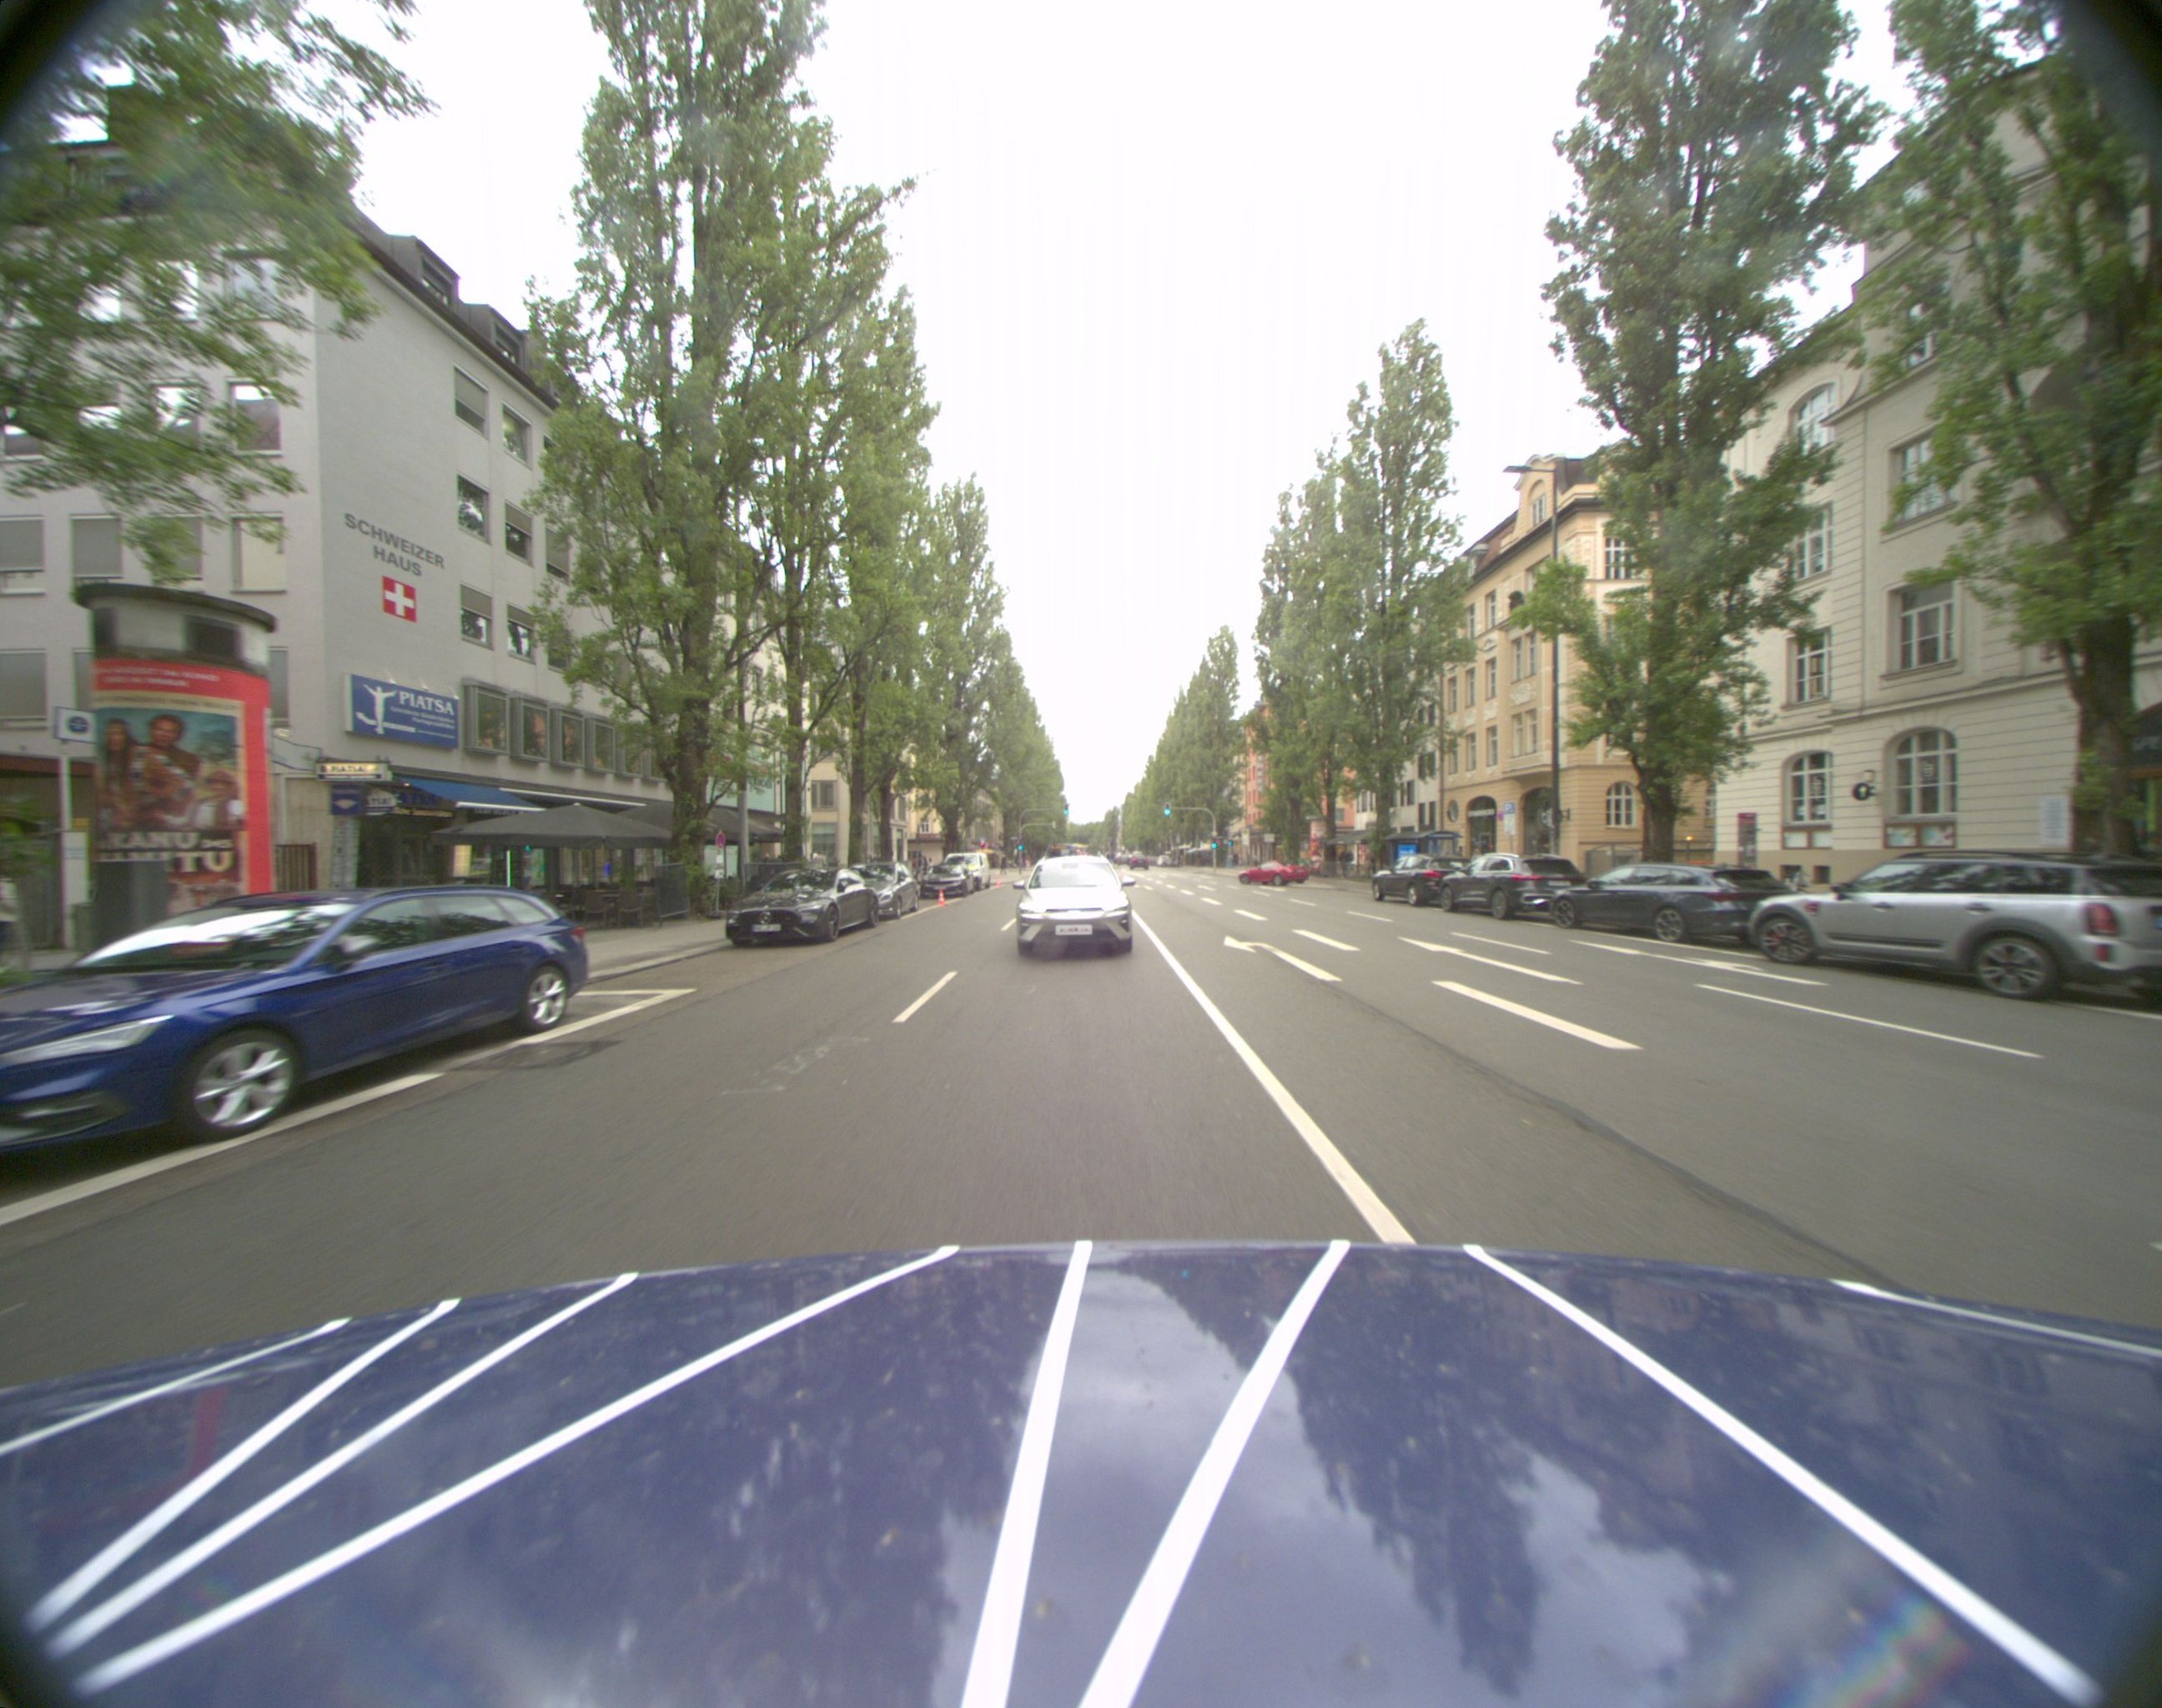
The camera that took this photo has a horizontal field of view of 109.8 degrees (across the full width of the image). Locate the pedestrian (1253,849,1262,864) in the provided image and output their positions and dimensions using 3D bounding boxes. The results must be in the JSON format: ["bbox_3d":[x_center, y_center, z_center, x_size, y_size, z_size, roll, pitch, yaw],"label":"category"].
[{"bbox_3d":[18.529,0.265,79.851,0.780,1.609,0.934,-1,1,0],"label":"pedestrian"}]

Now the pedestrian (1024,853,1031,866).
[{"bbox_3d":[-6.715,0.706,95.575,0.767,1.600,0.864,-1,1,-3],"label":"pedestrian"}]

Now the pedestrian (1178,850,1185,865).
[{"bbox_3d":[12.546,0.453,94.772,0.736,1.785,0.994,-2,1,19],"label":"pedestrian"}]

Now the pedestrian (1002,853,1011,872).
[{"bbox_3d":[-6.926,0.752,70.512,0.710,1.748,0.752,-1,1,2],"label":"pedestrian"}]

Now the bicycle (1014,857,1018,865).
[{"bbox_3d":[-8.749,0.894,102.207,0.510,1.042,1.770,-1,0,-2],"label":"bicycle"}]

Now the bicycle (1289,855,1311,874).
[{"bbox_3d":[15.841,0.752,54.949,1.958,1.282,0.507,-3,1,-42],"label":"bicycle"}]

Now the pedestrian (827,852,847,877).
[{"bbox_3d":[-16.430,0.701,51.146,0.985,1.664,0.827,-1,1,19],"label":"pedestrian"}]

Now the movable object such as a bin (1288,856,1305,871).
[{"bbox_3d":[15.203,0.684,53.582,0.725,1.035,0.853,-3,1,-28],"label":"movable object such as a bin"}]

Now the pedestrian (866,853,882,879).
[{"bbox_3d":[-13.565,0.777,49.747,0.752,1.667,0.963,0,1,2],"label":"pedestrian"}]

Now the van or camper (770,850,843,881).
[{"bbox_3d":[-18.252,0.770,50.619,4.113,1.856,1.898,-2,1,4],"label":"van or camper"}]

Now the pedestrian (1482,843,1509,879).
[{"bbox_3d":[21.061,0.348,38.629,0.802,1.777,0.912,-2,1,1],"label":"pedestrian"}]

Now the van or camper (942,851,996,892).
[{"bbox_3d":[-5.483,0.824,37.832,1.873,1.872,4.902,-1,0,0],"label":"van or camper"}]

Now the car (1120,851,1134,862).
[{"bbox_3d":[7.239,0.350,119.257,1.918,1.671,4.586,1,0,0],"label":"car"}]

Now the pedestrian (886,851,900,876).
[{"bbox_3d":[-14.032,0.697,56.708,0.820,1.807,0.890,-1,1,-1],"label":"pedestrian"}]

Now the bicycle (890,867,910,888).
[{"bbox_3d":[-9.346,1.196,39.338,0.365,1.032,1.731,-1,0,8],"label":"bicycle"}]

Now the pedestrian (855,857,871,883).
[{"bbox_3d":[-14.498,1.075,50.489,0.752,1.708,0.963,-1,0,2],"label":"pedestrian"}]

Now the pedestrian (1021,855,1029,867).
[{"bbox_3d":[-6.930,0.879,93.371,0.767,1.509,0.620,2,4,45],"label":"pedestrian"}]

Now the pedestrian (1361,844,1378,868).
[{"bbox_3d":[21.486,0.134,56.557,0.845,1.734,0.954,-2,1,1],"label":"pedestrian"}]

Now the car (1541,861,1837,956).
[{"bbox_3d":[11.154,0.892,14.501,1.689,1.416,4.686,1,0,-3],"label":"car"}]

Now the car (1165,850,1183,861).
[{"bbox_3d":[12.569,0.208,102.864,1.707,1.430,4.589,1,1,-1],"label":"car"}]

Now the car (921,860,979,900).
[{"bbox_3d":[-5.415,1.051,31.883,1.724,1.434,4.353,-3,0,-1],"label":"car"}]

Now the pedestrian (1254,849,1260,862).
[{"bbox_3d":[22.039,0.156,95.109,0.588,1.681,0.514,0,1,0],"label":"pedestrian"}]

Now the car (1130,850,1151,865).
[{"bbox_3d":[6.584,0.394,84.498,1.940,1.614,4.336,1,0,0],"label":"car"}]

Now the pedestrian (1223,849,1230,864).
[{"bbox_3d":[17.153,0.261,89.605,0.726,1.761,0.778,-1,1,2],"label":"pedestrian"}]

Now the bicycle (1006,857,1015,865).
[{"bbox_3d":[-9.198,0.899,99.648,0.405,1.064,1.813,-6,0,16],"label":"bicycle"}]

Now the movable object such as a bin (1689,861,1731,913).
[{"bbox_3d":[16.033,0.829,19.380,0.606,1.308,0.586,-1,1,1],"label":"movable object such as a bin"}]

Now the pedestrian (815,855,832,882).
[{"bbox_3d":[-15.866,0.895,46.823,0.653,1.653,0.963,0,1,1],"label":"pedestrian"}]

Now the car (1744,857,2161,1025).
[{"bbox_3d":[10.797,0.845,9.269,1.786,1.566,4.132,1,0,0],"label":"car"}]

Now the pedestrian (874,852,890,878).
[{"bbox_3d":[-13.580,0.735,51.876,0.752,1.748,0.859,0,3,2],"label":"pedestrian"}]

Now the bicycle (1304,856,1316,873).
[{"bbox_3d":[16.094,0.725,53.355,0.507,1.082,1.812,-2,1,24],"label":"bicycle"}]

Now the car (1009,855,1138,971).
[{"bbox_3d":[-0.101,0.860,12.911,1.758,1.529,3.916,-4,0,0],"label":"car"}]

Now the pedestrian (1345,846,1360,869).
[{"bbox_3d":[20.246,0.256,56.582,0.729,1.730,0.942,-2,1,0],"label":"pedestrian"}]

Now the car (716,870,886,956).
[{"bbox_3d":[-5.687,1.111,16.170,1.883,1.424,4.803,0,0,-1],"label":"car"}]

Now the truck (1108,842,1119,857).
[{"bbox_3d":[8.305,-1.097,192.593,2.469,3.649,8.438,-1,1,1],"label":"truck"}]

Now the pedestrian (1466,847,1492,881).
[{"bbox_3d":[20.268,0.516,38.691,0.734,1.672,0.977,-2,1,1],"label":"pedestrian"}]

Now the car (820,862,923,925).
[{"bbox_3d":[-5.634,1.000,20.954,1.822,1.497,4.231,0,0,-3],"label":"car"}]

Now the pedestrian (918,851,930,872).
[{"bbox_3d":[-13.534,0.668,65.502,0.820,1.807,0.890,-1,1,-1],"label":"pedestrian"}]

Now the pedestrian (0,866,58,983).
[{"bbox_3d":[-15.208,0.975,10.511,0.731,1.600,0.991,0,1,1],"label":"pedestrian"}]

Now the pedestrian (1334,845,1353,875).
[{"bbox_3d":[15.970,0.364,46.239,0.908,1.735,0.820,-3,3,5],"label":"pedestrian"}]

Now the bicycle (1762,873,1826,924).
[{"bbox_3d":[17.092,1.042,18.254,0.538,1.106,1.999,0,0,26],"label":"bicycle"}]

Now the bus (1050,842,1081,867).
[{"bbox_3d":[-1.724,0.059,93.174,2.805,2.886,12.860,-1,0,3],"label":"bus"}]

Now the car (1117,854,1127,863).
[{"bbox_3d":[7.544,0.778,138.760,1.565,1.487,3.694,0,0,0],"label":"car"}]

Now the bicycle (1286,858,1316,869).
[{"bbox_3d":[16.837,0.751,58.168,1.956,0.510,0.826,-2,22,-17],"label":"bicycle"}]

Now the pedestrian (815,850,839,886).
[{"bbox_3d":[-13.087,0.703,39.210,0.828,1.830,1.099,-1,1,1],"label":"pedestrian"}]

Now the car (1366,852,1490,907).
[{"bbox_3d":[11.150,0.761,24.833,1.825,1.608,4.715,0,0,-1],"label":"car"}]

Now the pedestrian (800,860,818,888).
[{"bbox_3d":[-16.780,1.219,46.878,0.752,1.708,0.963,0,1,1],"label":"pedestrian"}]

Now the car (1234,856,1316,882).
[{"bbox_3d":[10.294,0.772,40.594,1.888,1.290,4.084,-1,0,-31],"label":"car"}]

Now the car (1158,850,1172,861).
[{"bbox_3d":[12.261,0.158,110.861,1.707,1.574,4.096,0,0,1],"label":"car"}]

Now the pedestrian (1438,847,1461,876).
[{"bbox_3d":[20.373,0.432,41.994,0.752,1.558,0.989,-2,1,2],"label":"pedestrian"}]

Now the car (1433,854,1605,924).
[{"bbox_3d":[11.059,0.797,19.637,1.807,1.585,4.630,0,0,1],"label":"car"}]

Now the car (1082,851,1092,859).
[{"bbox_3d":[1.233,0.200,158.090,2.052,1.671,4.586,1,0,0],"label":"car"}]

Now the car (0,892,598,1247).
[{"bbox_3d":[-5.872,1.115,5.701,1.754,1.397,4.463,0,0,-2],"label":"car"}]
